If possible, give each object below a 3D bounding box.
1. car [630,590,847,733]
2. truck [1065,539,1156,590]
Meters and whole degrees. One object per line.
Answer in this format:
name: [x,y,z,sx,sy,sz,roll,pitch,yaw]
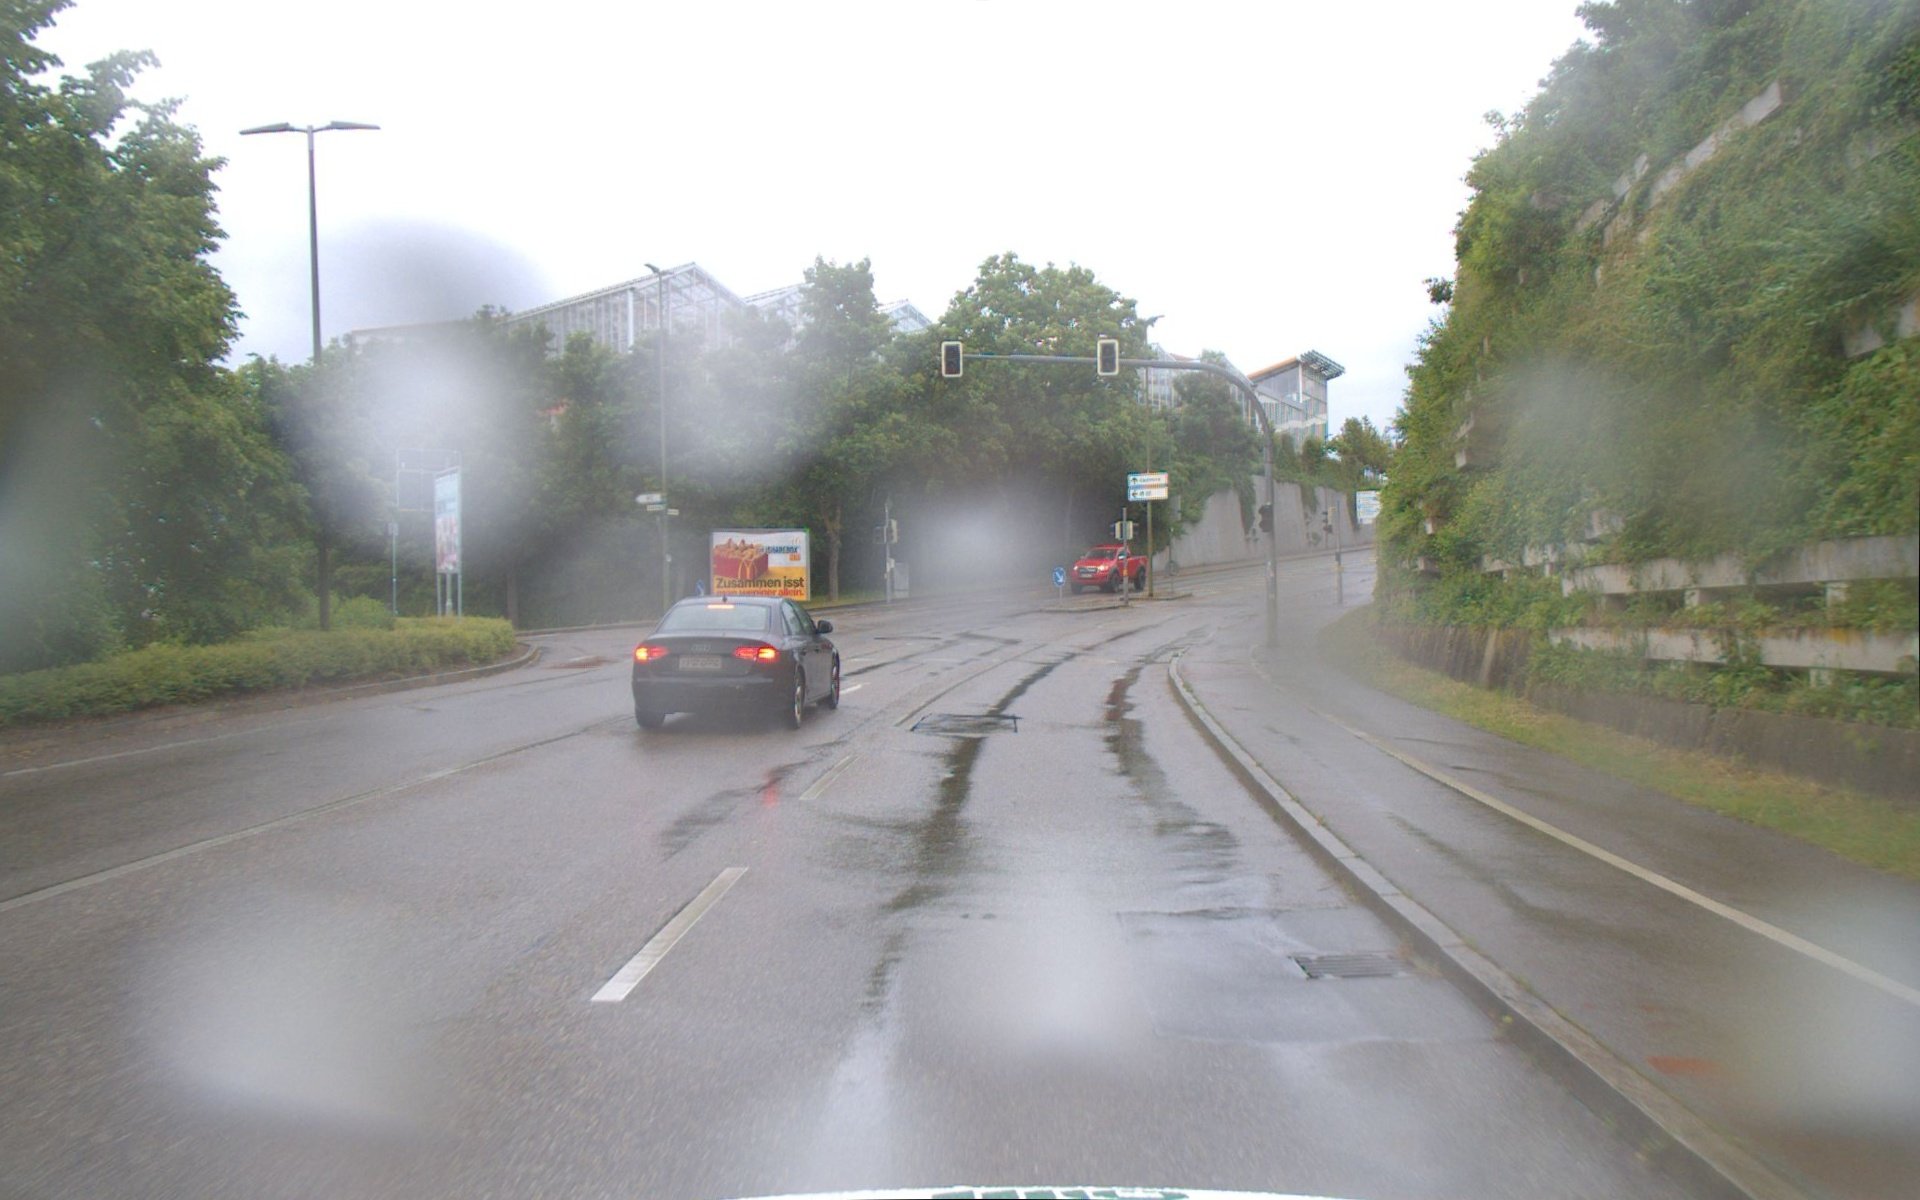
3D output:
car: [-2.415,0.621,18.958,1.718,1.420,4.002,0,1,3]
truck: [6.436,-1.479,70.308,1.955,2.049,5.330,0,0,28]
